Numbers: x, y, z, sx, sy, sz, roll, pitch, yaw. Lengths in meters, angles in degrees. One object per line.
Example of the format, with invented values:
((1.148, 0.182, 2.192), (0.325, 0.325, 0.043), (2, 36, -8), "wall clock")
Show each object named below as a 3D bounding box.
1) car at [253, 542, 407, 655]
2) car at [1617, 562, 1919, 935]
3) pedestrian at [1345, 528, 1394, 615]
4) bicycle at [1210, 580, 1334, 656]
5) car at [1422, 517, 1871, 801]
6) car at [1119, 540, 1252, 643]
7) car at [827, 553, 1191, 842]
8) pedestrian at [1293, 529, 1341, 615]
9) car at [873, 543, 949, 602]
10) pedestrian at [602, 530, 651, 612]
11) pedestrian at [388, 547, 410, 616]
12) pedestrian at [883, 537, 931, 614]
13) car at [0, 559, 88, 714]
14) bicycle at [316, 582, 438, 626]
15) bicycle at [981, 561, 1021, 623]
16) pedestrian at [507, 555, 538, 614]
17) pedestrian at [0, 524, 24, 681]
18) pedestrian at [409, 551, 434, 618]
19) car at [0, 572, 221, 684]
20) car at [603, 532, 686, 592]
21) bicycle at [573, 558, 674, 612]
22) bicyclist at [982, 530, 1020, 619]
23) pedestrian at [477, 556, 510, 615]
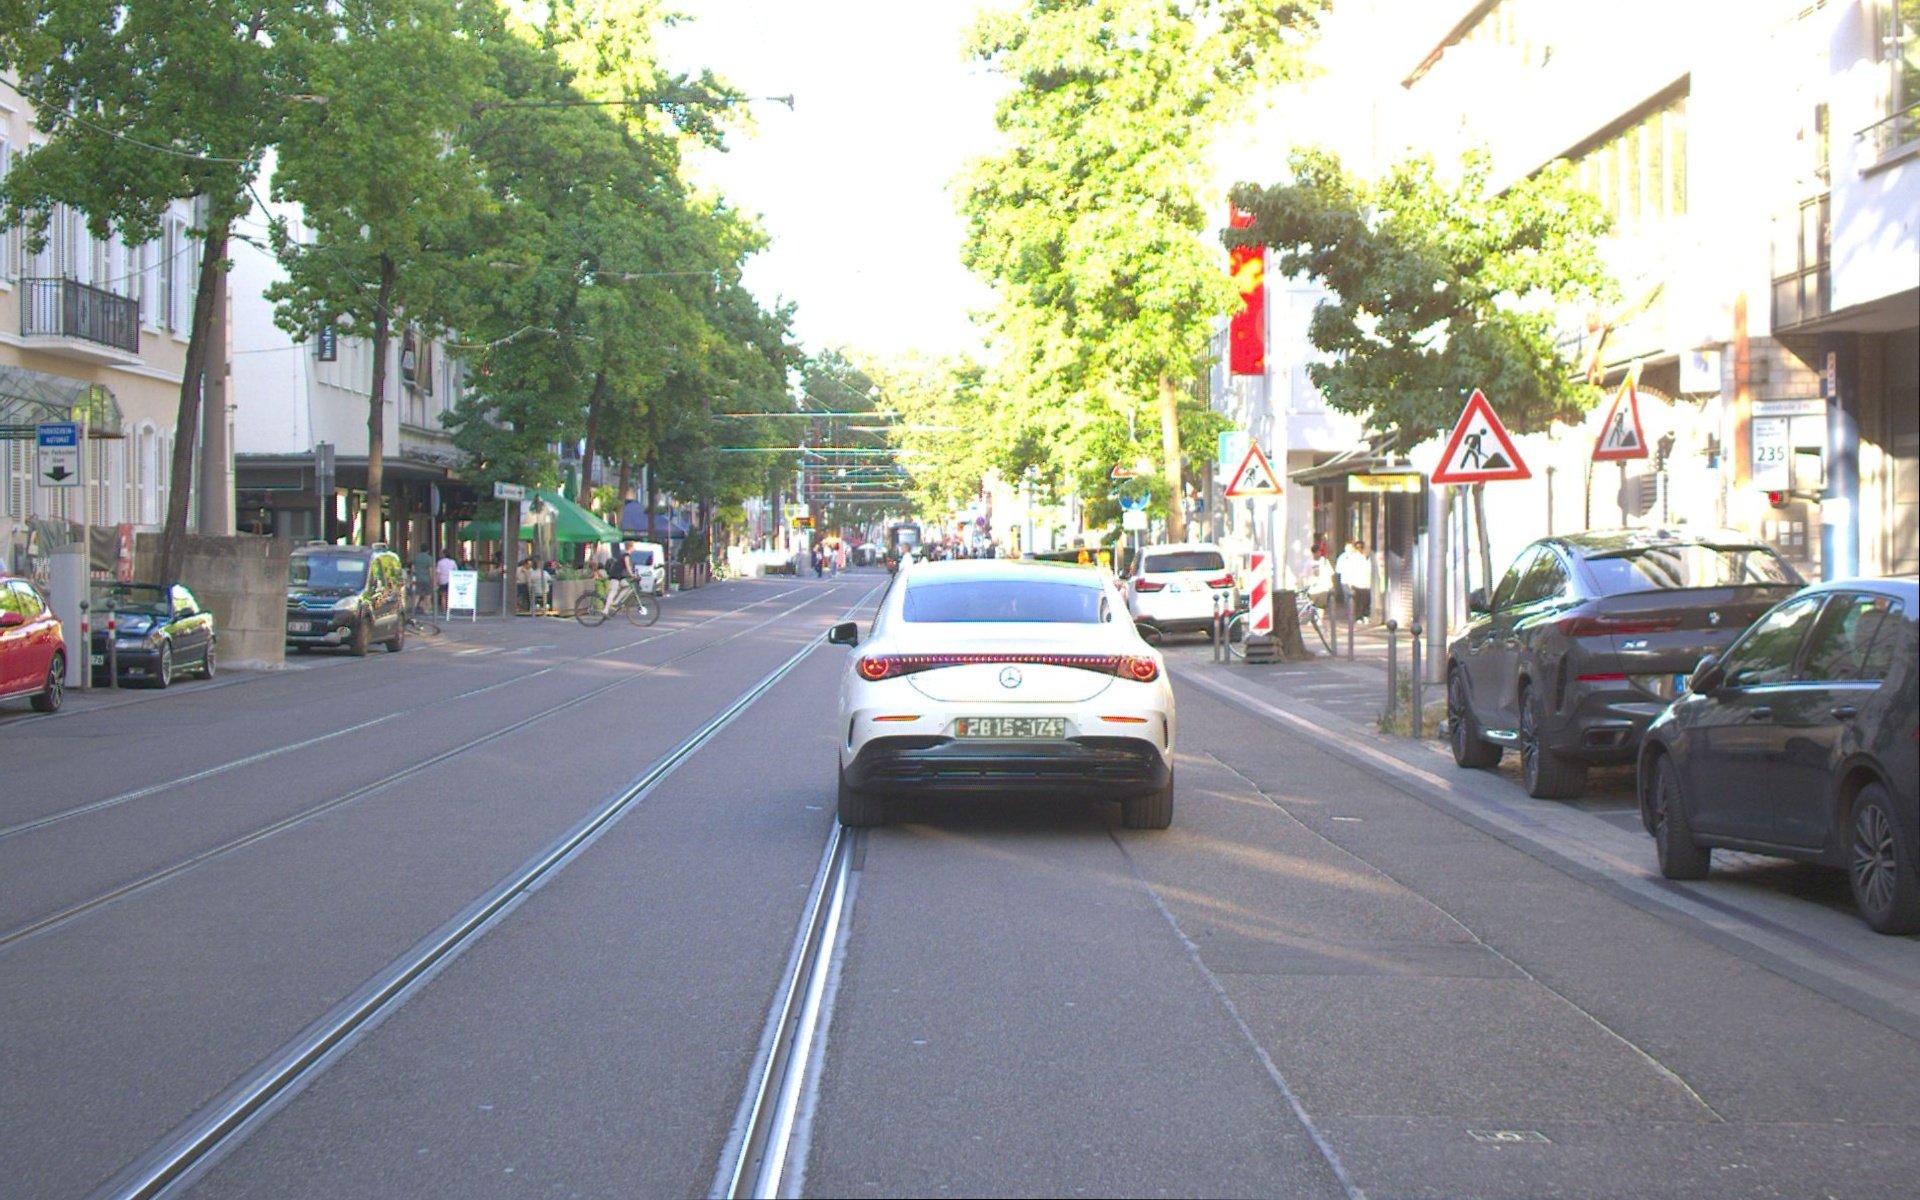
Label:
((-10.208, -0.046, 55.882), (1.553, 1.789, 3.166), (0, 1, 8), "car")
((4.435, 0.556, 15.303), (1.837, 1.431, 4.001), (0, 1, -7), "car")
((8.385, -0.590, 70.396), (0.799, 1.768, 0.683), (0, 1, -12), "pedestrian")
((4.425, 0.258, 48.795), (1.723, 1.058, 0.581), (0, 1, 3), "bicycle")
((4.473, 0.314, 23.203), (1.993, 1.707, 4.867), (0, 1, -1), "car")
((3.887, -0.179, 59.878), (1.993, 1.722, 4.241), (0, 1, 0), "car")
((0.187, 0.472, 19.686), (1.868, 1.464, 4.043), (0, 1, -2), "car")
((7.365, -0.585, 70.910), (0.799, 1.768, 0.683), (0, 1, -12), "pedestrian")
((-2.693, -1.507, 188.065), (4.038, 3.103, 8.431), (-1, 0, -1), "car")
((-7.211, -0.631, 74.228), (0.919, 1.768, 0.874), (0, 1, -15), "pedestrian")
((-14.408, -0.475, 88.298), (0.517, 1.775, 0.609), (0, 1, -5), "pedestrian")
((-1.227, -0.576, 79.459), (0.919, 1.768, 0.874), (0, 1, -15), "pedestrian")
((-10.107, 0.338, 34.329), (1.688, 1.494, 4.234), (0, 1, 1), "car")
((-11.201, 0.075, 66.028), (2.255, 0.827, 0.716), (0, 1, 22), "bicycle")
((0.787, -0.163, 66.452), (0.740, 1.184, 2.160), (0, 0, 0), "bicycle")
((-11.090, -0.389, 87.093), (0.517, 1.473, 0.650), (-3, 0, -28), "pedestrian")
((-12.381, 0.026, 43.892), (0.707, 1.997, 0.675), (0, 1, -4), "pedestrian")
((-12.874, -0.376, 82.182), (0.517, 1.610, 0.650), (0, 1, -1), "pedestrian")
((-10.546, 0.319, 42.553), (1.993, 1.288, 4.000), (0, 1, -1), "car")
((-10.833, -1.326, 118.400), (1.994, 2.007, 3.999), (0, 1, 8), "car")
((-7.269, -0.332, 74.220), (2.047, 1.132, 0.874), (0, 1, -15), "bicycle")
((0.785, -0.490, 66.269), (0.724, 1.697, 0.811), (0, 0, 0), "bicyclist")
((-11.605, -0.359, 85.589), (0.569, 1.459, 0.649), (0, 1, 19), "pedestrian")
